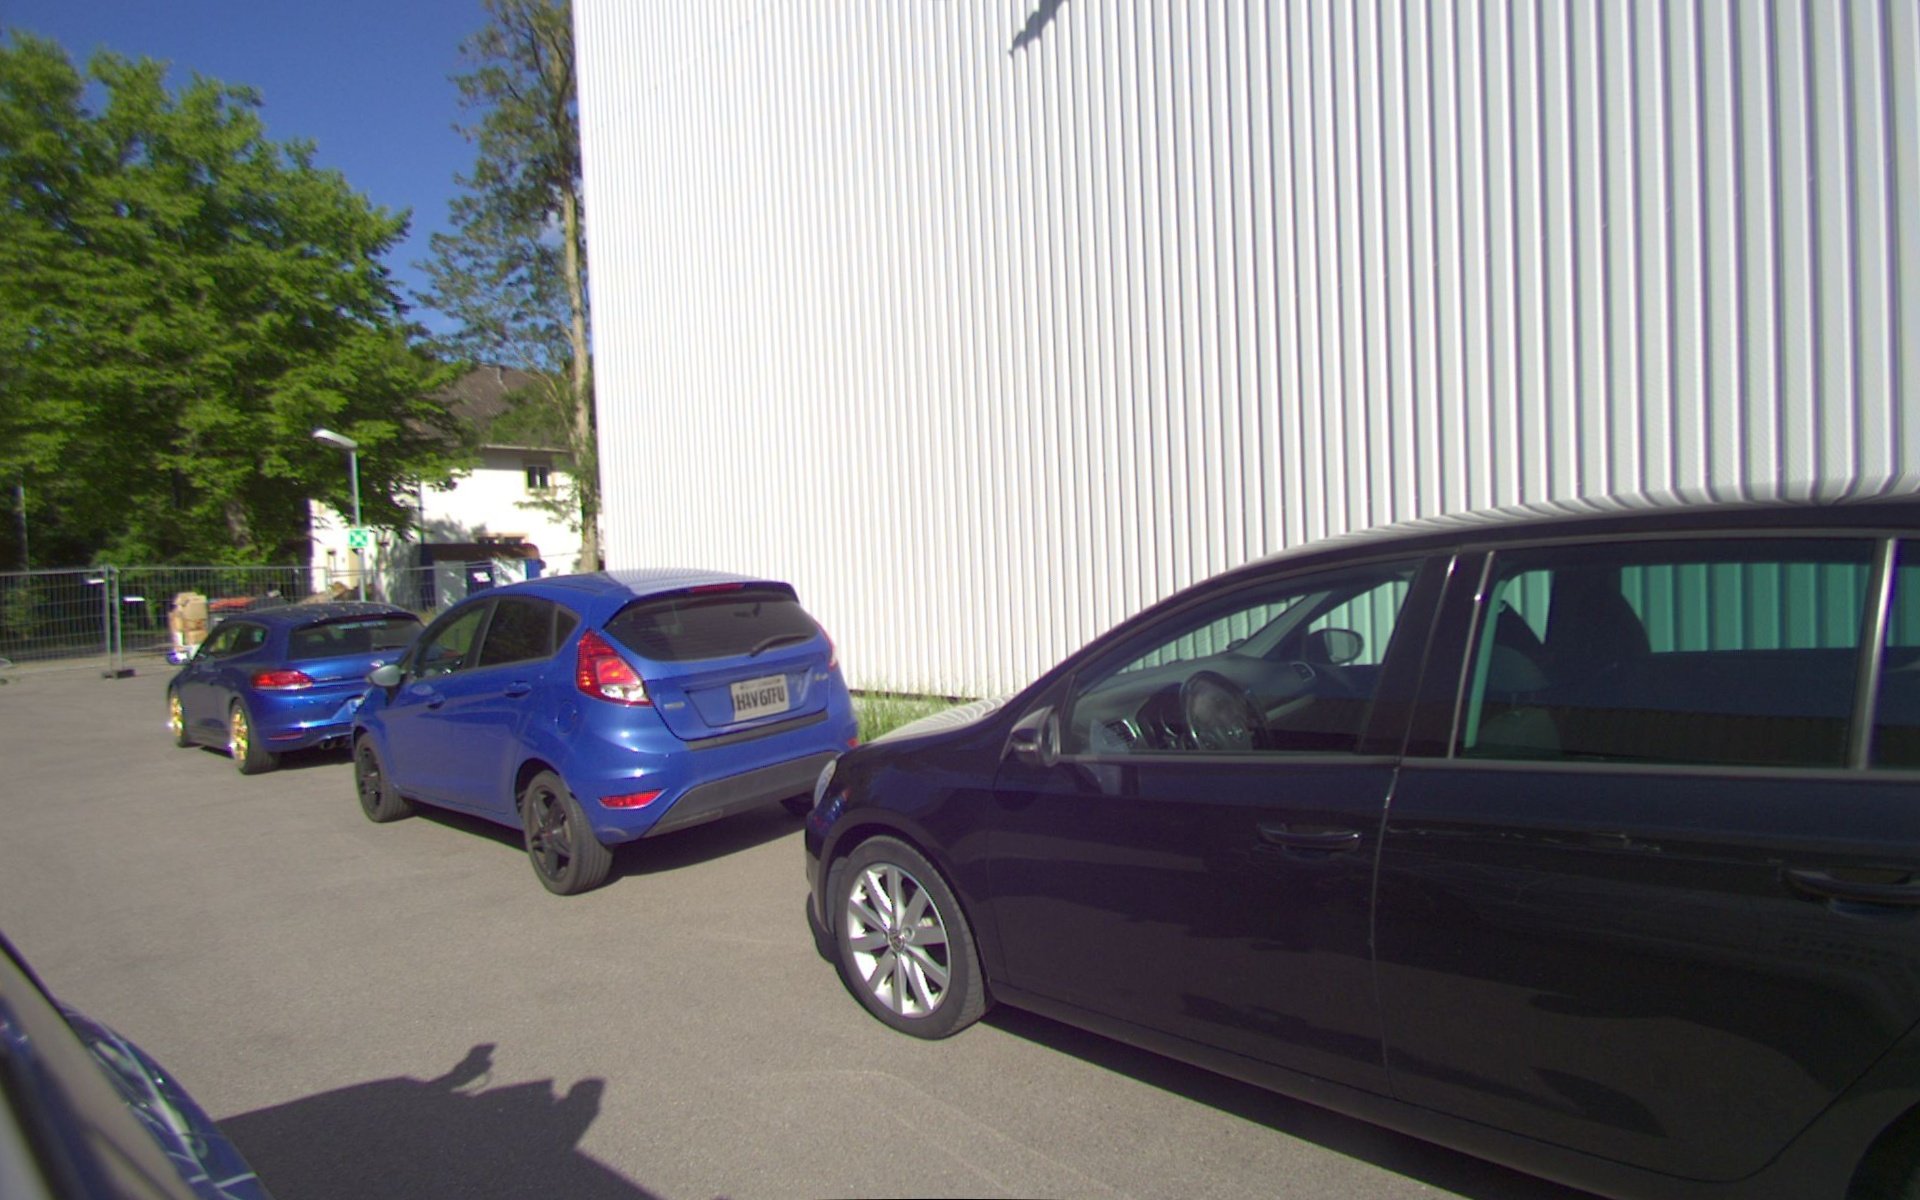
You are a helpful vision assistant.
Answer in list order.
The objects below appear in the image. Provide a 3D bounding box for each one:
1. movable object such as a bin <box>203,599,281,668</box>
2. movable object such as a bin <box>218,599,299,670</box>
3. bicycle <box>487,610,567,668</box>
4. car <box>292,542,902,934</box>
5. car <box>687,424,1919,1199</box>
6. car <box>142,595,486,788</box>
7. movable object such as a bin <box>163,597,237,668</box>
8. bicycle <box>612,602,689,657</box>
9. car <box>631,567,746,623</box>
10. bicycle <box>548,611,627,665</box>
[{"bbox_3d":[-16.635,0.759,23.457,1.229,1.450,1.080,-1,4,38],"label":"movable object such as a bin"},{"bbox_3d":[-15.640,0.743,22.568,1.229,1.442,1.080,-1,4,38],"label":"movable object such as a bin"},{"bbox_3d":[-8.018,0.720,18.721,1.833,0.994,0.476,-2,3,38],"label":"bicycle"},{"bbox_3d":[-2.398,0.566,6.053,4.094,1.511,1.614,-2,4,43],"label":"car"},{"bbox_3d":[1.219,0.459,2.754,4.295,1.511,1.736,-1,4,44],"label":"car"},{"bbox_3d":[-6.343,0.737,9.744,4.053,1.370,1.755,-2,3,43],"label":"car"},{"bbox_3d":[-18.335,0.755,24.417,1.229,1.609,1.080,1,3,38],"label":"movable object such as a bin"},{"bbox_3d":[-6.303,0.605,20.550,1.828,1.045,0.476,-2,3,38],"label":"bicycle"},{"bbox_3d":[-11.038,-0.236,40.993,4.873,2.026,2.032,1,5,41],"label":"car"},{"bbox_3d":[-7.235,0.728,19.617,1.832,0.967,0.476,-2,3,38],"label":"bicycle"}]
